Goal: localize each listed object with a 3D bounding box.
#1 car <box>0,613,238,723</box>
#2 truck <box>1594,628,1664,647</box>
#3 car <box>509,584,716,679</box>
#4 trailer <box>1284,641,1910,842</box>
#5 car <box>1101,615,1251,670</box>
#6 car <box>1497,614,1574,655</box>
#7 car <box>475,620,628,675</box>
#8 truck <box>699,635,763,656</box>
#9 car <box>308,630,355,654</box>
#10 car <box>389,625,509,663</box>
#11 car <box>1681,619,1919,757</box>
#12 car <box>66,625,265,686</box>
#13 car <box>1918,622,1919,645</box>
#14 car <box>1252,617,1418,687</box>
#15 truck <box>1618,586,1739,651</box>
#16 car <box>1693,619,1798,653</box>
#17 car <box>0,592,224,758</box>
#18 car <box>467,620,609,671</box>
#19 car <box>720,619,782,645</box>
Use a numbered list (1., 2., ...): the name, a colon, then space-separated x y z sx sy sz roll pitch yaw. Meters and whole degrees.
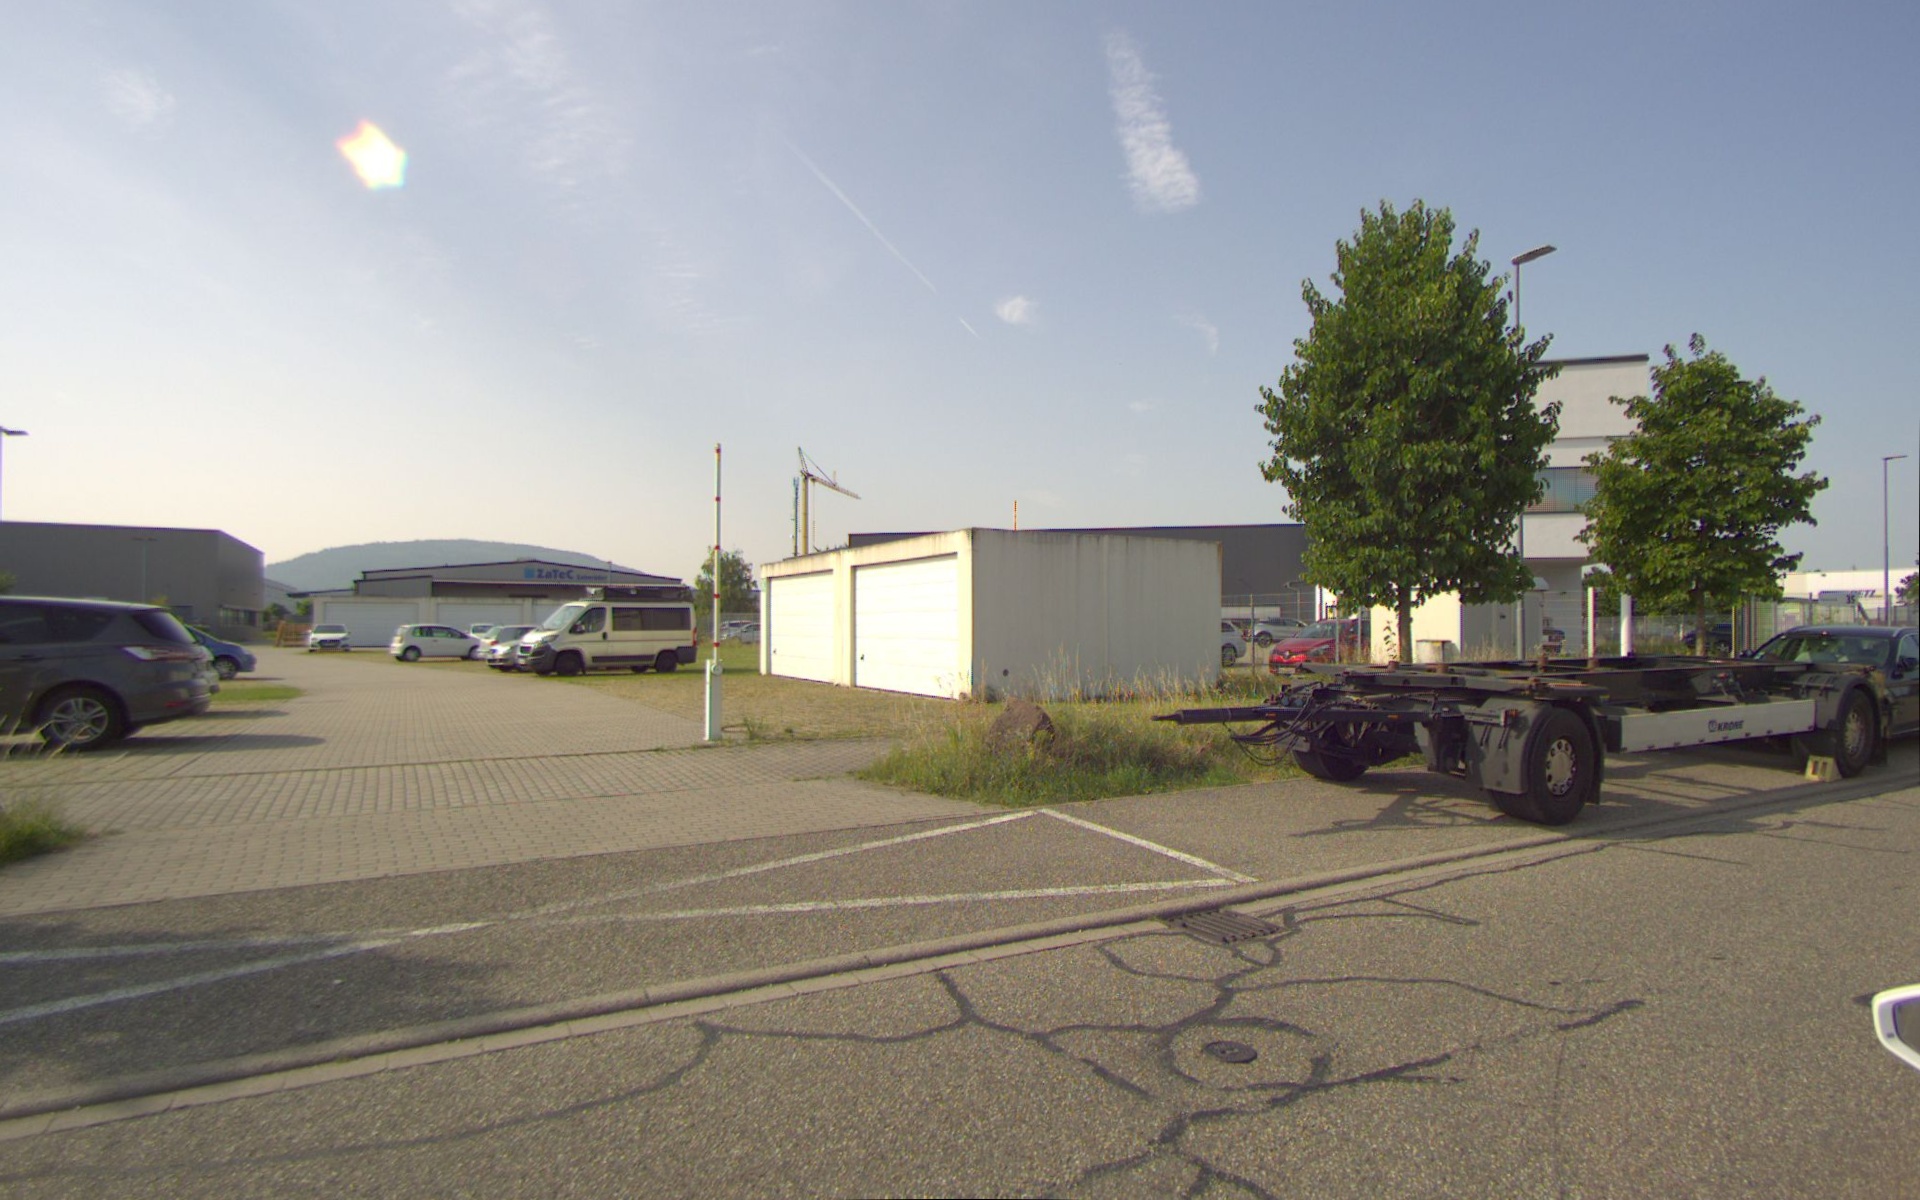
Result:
1. car: -13.439 0.980 14.977 4.165 1.536 1.697 1 -2 -31
2. truck: 50.900 2.841 76.610 2.481 1.282 6.530 0 -1 15
3. car: -10.187 0.951 29.754 5.417 2.580 2.033 2 -2 -41
4. trailer: 6.504 1.123 9.860 7.070 1.249 2.120 0 0 -29
5. car: 6.628 1.258 30.695 4.425 1.514 1.824 0 -1 -31
6. car: 21.266 1.244 37.253 1.532 1.434 3.923 0 -1 16
7. car: -12.904 1.505 31.858 4.119 1.634 1.825 2 -3 -41
8. truck: -15.510 3.062 68.057 3.947 1.327 1.860 1 -1 -26
9. car: -32.682 2.175 52.324 1.597 1.228 3.661 2 -2 -25
10. car: -20.837 1.795 41.068 4.119 1.500 1.561 2 -3 -41
11. car: 11.794 1.032 13.310 4.378 1.486 1.985 0 0 -29
12. car: -20.780 1.401 26.360 3.971 1.461 1.878 2 -2 -43
13. car: 63.102 2.118 63.338 3.932 1.496 2.167 0 -1 -14
14. car: 9.339 1.231 24.909 4.261 1.545 1.759 0 -1 -35
15. truck: 48.697 1.318 68.611 2.582 3.981 12.924 0 -1 16
16. car: 36.068 1.642 46.204 3.433 1.473 1.598 1 -1 13
17. car: -10.956 0.790 10.850 4.645 1.709 1.984 1 -2 -31
18. car: -14.317 1.535 34.200 4.119 1.634 1.825 2 -3 -41
19. car: -14.867 2.282 71.436 3.947 1.792 1.860 1 -1 -26
